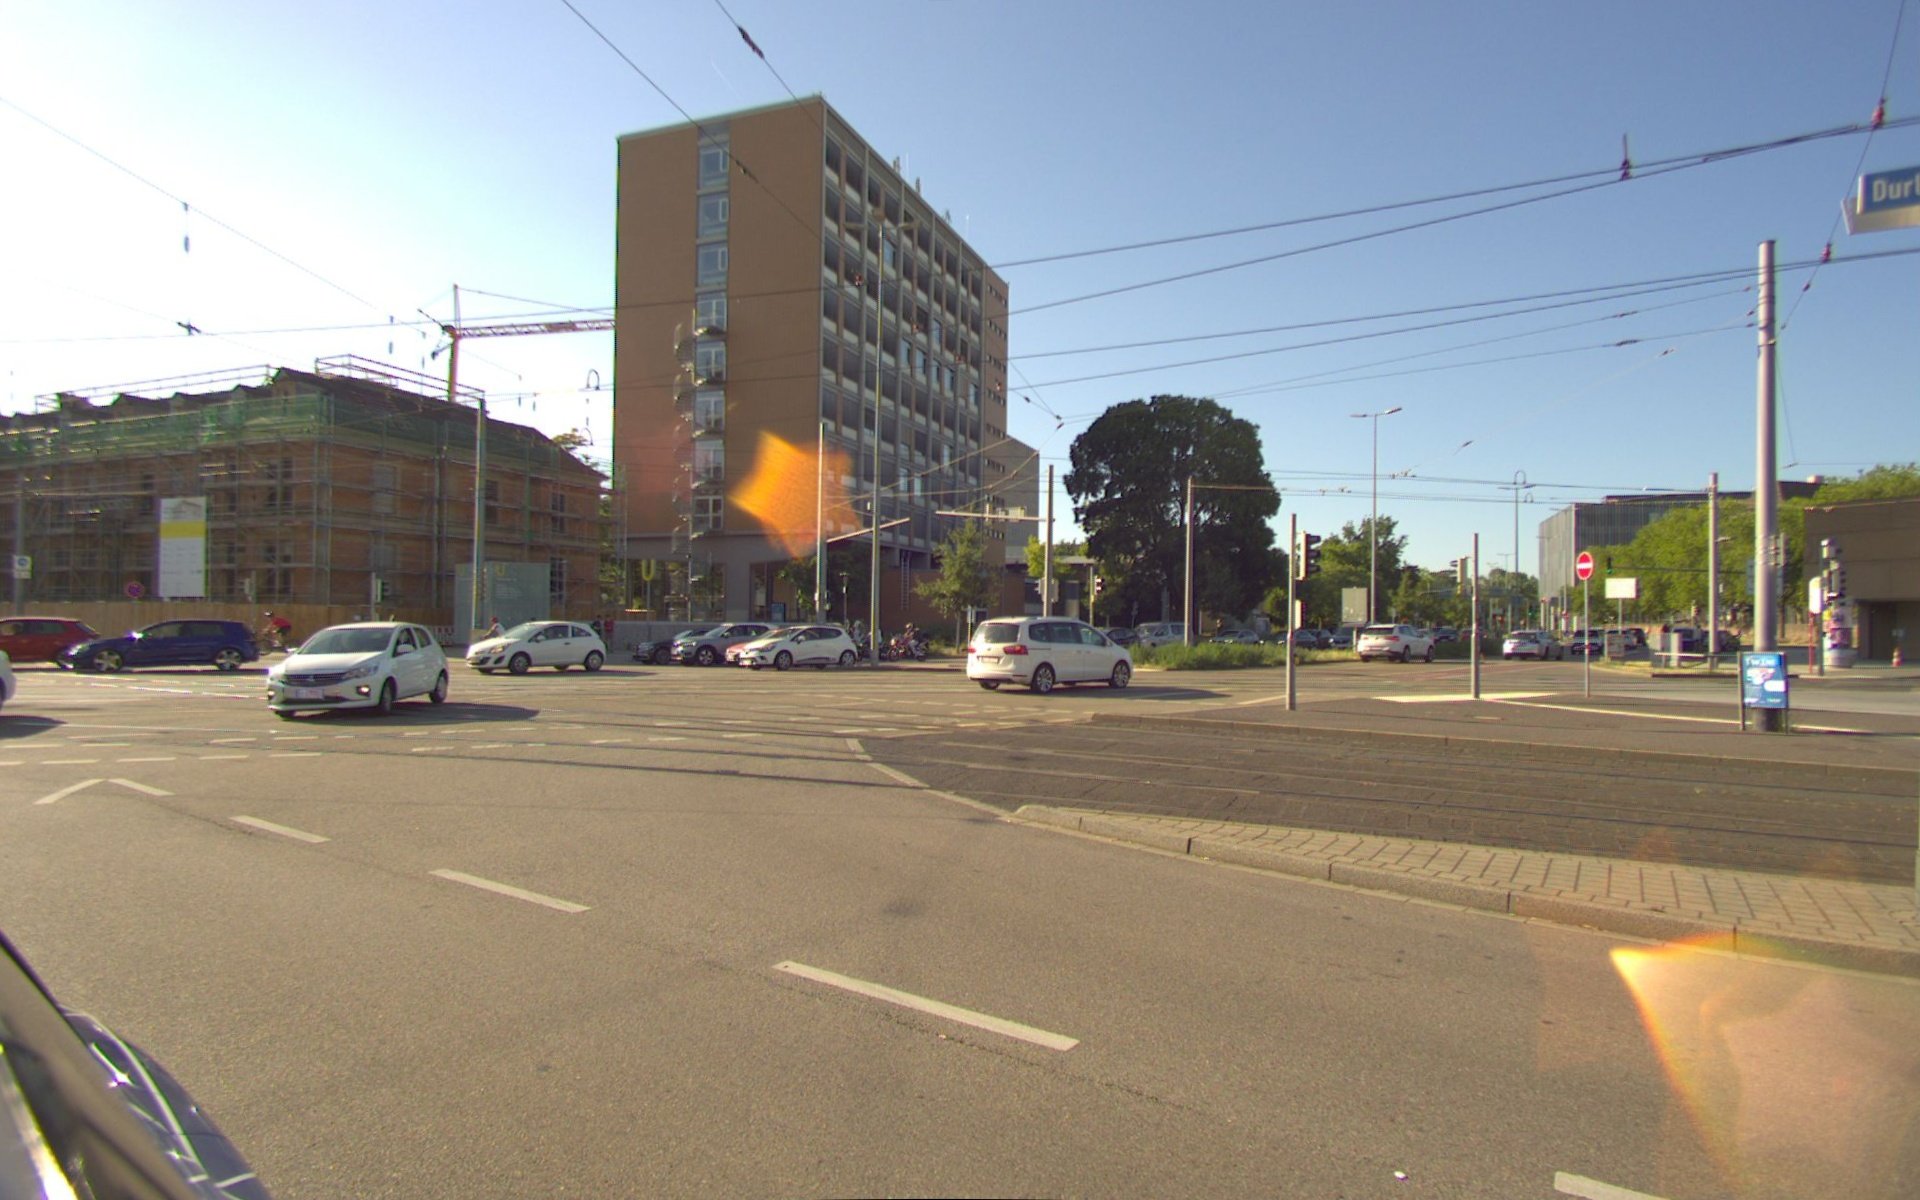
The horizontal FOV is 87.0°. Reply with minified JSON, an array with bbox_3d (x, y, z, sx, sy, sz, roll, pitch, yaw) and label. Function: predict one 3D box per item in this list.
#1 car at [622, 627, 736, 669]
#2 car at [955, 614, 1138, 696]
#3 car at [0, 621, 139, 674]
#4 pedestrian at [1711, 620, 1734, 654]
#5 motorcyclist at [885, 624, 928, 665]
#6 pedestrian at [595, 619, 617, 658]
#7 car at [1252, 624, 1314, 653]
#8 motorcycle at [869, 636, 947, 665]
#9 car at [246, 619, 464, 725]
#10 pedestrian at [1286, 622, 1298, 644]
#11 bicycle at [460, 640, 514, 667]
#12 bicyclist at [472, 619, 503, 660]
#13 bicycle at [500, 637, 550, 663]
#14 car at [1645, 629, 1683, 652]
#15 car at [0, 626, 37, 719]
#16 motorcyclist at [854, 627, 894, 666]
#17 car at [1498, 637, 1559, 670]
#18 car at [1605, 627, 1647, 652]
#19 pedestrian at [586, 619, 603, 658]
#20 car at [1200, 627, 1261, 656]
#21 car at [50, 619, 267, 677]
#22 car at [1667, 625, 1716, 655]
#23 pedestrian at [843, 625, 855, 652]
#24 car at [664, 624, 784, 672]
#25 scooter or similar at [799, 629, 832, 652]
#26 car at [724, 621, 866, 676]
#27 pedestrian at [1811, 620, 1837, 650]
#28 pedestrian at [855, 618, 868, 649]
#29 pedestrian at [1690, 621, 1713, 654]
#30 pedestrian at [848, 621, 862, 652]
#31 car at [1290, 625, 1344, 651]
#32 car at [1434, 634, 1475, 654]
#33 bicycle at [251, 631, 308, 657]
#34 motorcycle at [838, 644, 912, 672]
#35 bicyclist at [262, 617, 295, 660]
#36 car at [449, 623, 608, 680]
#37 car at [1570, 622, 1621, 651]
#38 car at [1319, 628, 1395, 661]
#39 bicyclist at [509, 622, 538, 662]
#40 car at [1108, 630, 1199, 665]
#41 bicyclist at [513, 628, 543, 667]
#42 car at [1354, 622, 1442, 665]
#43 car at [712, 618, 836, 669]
[{"bbox_3d":[-11.100,1.866,40.077,3.954,1.475,1.760,0,-1,-38],"label":"car"},{"bbox_3d":[2.122,1.249,23.879,1.943,1.747,4.398,-1,-2,45],"label":"car"},{"bbox_3d":[-26.327,1.341,29.244,3.953,1.475,1.760,1,-2,-37],"label":"car"},{"bbox_3d":[40.742,1.989,54.066,0.802,1.782,0.963,-3,-4,31],"label":"pedestrian"},{"bbox_3d":[-2.299,1.915,43.363,1.430,1.680,1.121,2,-5,-34],"label":"motorcyclist"},{"bbox_3d":[-16.418,1.773,46.890,0.722,1.752,0.622,2,-1,-45],"label":"pedestrian"},{"bbox_3d":[19.678,2.331,61.615,3.938,1.741,1.825,2,-2,-42],"label":"car"},{"bbox_3d":[-2.213,2.147,43.414,3.179,1.204,1.121,1,-5,-34],"label":"motorcycle"},{"bbox_3d":[-10.072,1.134,17.205,1.695,1.503,3.876,2,0,-6],"label":"car"},{"bbox_3d":[25.837,2.558,78.791,0.583,1.674,0.566,2,-5,-41],"label":"pedestrian"},{"bbox_3d":[-18.796,2.122,40.257,1.848,0.977,0.714,3,1,-32],"label":"bicycle"},{"bbox_3d":[-18.787,1.572,40.241,0.999,1.599,0.696,3,1,-32],"label":"bicyclist"},{"bbox_3d":[-18.386,2.105,42.785,1.848,0.977,0.714,3,1,-17],"label":"bicycle"},{"bbox_3d":[52.160,3.005,74.975,1.857,1.643,3.818,-6,-5,40],"label":"car"},{"bbox_3d":[-15.119,1.053,13.669,1.797,1.399,4.467,1,-2,-10],"label":"car"},{"bbox_3d":[-3.886,2.104,45.734,1.430,1.680,1.121,2,-5,-34],"label":"motorcyclist"},{"bbox_3d":[27.549,2.551,49.002,1.845,1.434,4.373,3,0,39],"label":"car"},{"bbox_3d":[45.916,2.709,69.757,1.859,1.643,3.815,-1,-2,43],"label":"car"},{"bbox_3d":[-16.716,1.758,46.328,0.612,1.752,0.667,2,-1,-13],"label":"pedestrian"},{"bbox_3d":[16.974,2.558,63.349,3.938,1.741,1.825,2,-2,-42],"label":"car"},{"bbox_3d":[-22.086,1.284,28.124,4.578,1.504,1.821,1,-2,-37],"label":"car"},{"bbox_3d":[43.189,2.379,59.719,1.864,1.643,3.981,-6,-5,42],"label":"car"},{"bbox_3d":[-6.878,2.409,62.606,0.573,1.648,0.497,-5,-5,42],"label":"pedestrian"},{"bbox_3d":[-8.827,1.765,37.905,3.934,1.618,2.005,0,0,-36],"label":"car"},{"bbox_3d":[-8.103,2.283,56.690,1.687,1.257,0.798,-2,-4,7],"label":"scooter or similar"},{"bbox_3d":[-5.333,1.536,33.034,4.220,1.689,2.001,2,-2,-45],"label":"car"},{"bbox_3d":[46.471,1.912,54.459,0.802,1.580,1.167,-3,-4,31],"label":"pedestrian"},{"bbox_3d":[-5.250,1.775,53.976,0.427,1.648,0.497,-4,-5,42],"label":"pedestrian"},{"bbox_3d":[40.008,2.040,54.617,0.802,1.782,0.953,-3,-4,31],"label":"pedestrian"},{"bbox_3d":[-5.882,2.025,56.690,0.614,1.725,0.487,0,-4,-21],"label":"pedestrian"},{"bbox_3d":[24.849,2.612,70.385,3.938,1.741,1.825,2,-2,-42],"label":"car"},{"bbox_3d":[42.796,3.810,87.550,1.998,1.697,4.644,-4,-5,40],"label":"car"},{"bbox_3d":[-27.954,1.808,41.626,1.848,0.977,0.714,3,1,-29],"label":"bicycle"},{"bbox_3d":[-3.820,2.619,45.751,3.179,1.204,1.121,1,-5,-34],"label":"motorcycle"},{"bbox_3d":[-28.012,1.574,41.597,0.999,1.721,0.696,3,1,-28],"label":"bicyclist"},{"bbox_3d":[-12.294,1.436,29.071,1.778,1.475,3.873,0,-2,31],"label":"car"},{"bbox_3d":[37.848,2.195,60.236,3.813,1.643,1.723,2,-4,-45],"label":"car"},{"bbox_3d":[22.104,2.455,56.293,4.545,1.701,2.003,2,-2,-40],"label":"car"},{"bbox_3d":[-18.438,1.760,42.773,0.999,1.599,0.696,3,1,-17],"label":"bicyclist"},{"bbox_3d":[10.069,2.459,52.567,4.630,1.697,2.004,2,-5,-37],"label":"car"},{"bbox_3d":[-18.733,2.063,43.890,1.000,1.599,0.696,3,1,-12],"label":"bicyclist"},{"bbox_3d":[19.222,1.898,44.316,4.553,1.760,1.943,2,-2,-44],"label":"car"},{"bbox_3d":[-6.638,1.575,36.276,3.937,1.697,2.003,2,-5,-41],"label":"car"}]
